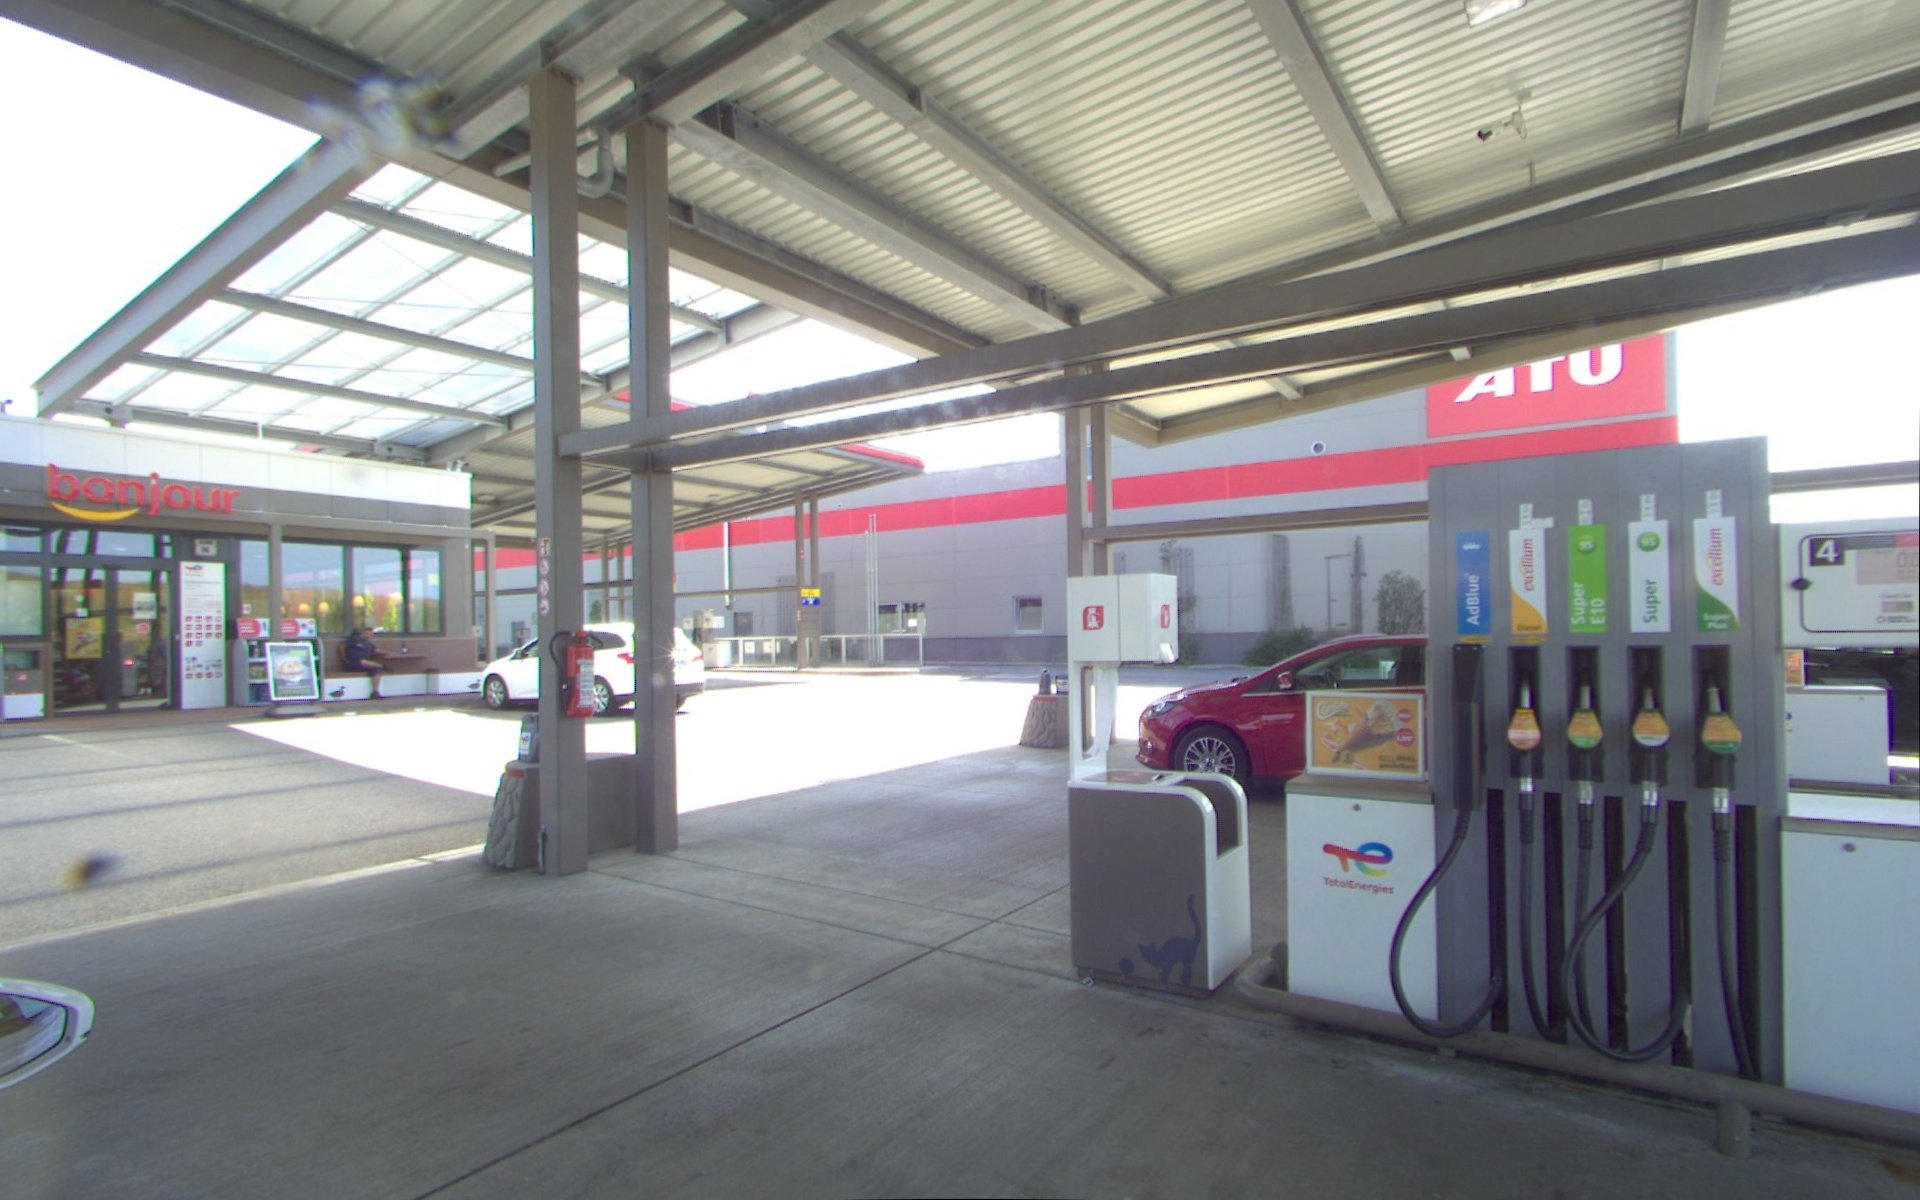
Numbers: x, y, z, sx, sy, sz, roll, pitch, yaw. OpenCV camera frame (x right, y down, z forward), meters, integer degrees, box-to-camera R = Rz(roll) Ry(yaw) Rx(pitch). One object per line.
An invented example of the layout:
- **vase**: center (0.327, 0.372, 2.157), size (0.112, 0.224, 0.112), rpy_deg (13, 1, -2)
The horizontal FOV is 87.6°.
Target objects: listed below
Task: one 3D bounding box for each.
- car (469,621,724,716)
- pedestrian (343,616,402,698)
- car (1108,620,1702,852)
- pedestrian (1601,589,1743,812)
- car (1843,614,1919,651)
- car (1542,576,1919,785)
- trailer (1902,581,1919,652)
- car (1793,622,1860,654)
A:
- **car**: center (-6.379, 1.124, 17.488), size (4.254, 1.475, 1.829), rpy_deg (-1, -1, 28)
- **pedestrian**: center (-10.731, 1.023, 18.290), size (0.663, 1.450, 0.700), rpy_deg (-1, -1, 33)
- **car**: center (3.490, 0.924, 8.309), size (4.174, 1.488, 1.695), rpy_deg (-1, -1, 34)
- **pedestrian**: center (5.880, 0.794, 8.307), size (0.915, 1.725, 0.699), rpy_deg (-1, -1, 35)
- **car**: center (35.365, 1.188, 37.111), size (3.761, 1.334, 1.682), rpy_deg (-1, -1, 0)
- **car**: center (8.698, 0.736, 10.147), size (4.731, 1.875, 2.023), rpy_deg (0, 0, 34)
- **trailer**: center (35.340, 0.538, 34.374), size (3.923, 2.459, 2.000), rpy_deg (-1, 0, 7)
- **car**: center (38.271, 1.654, 44.300), size (1.657, 1.334, 3.816), rpy_deg (-1, -1, 32)
